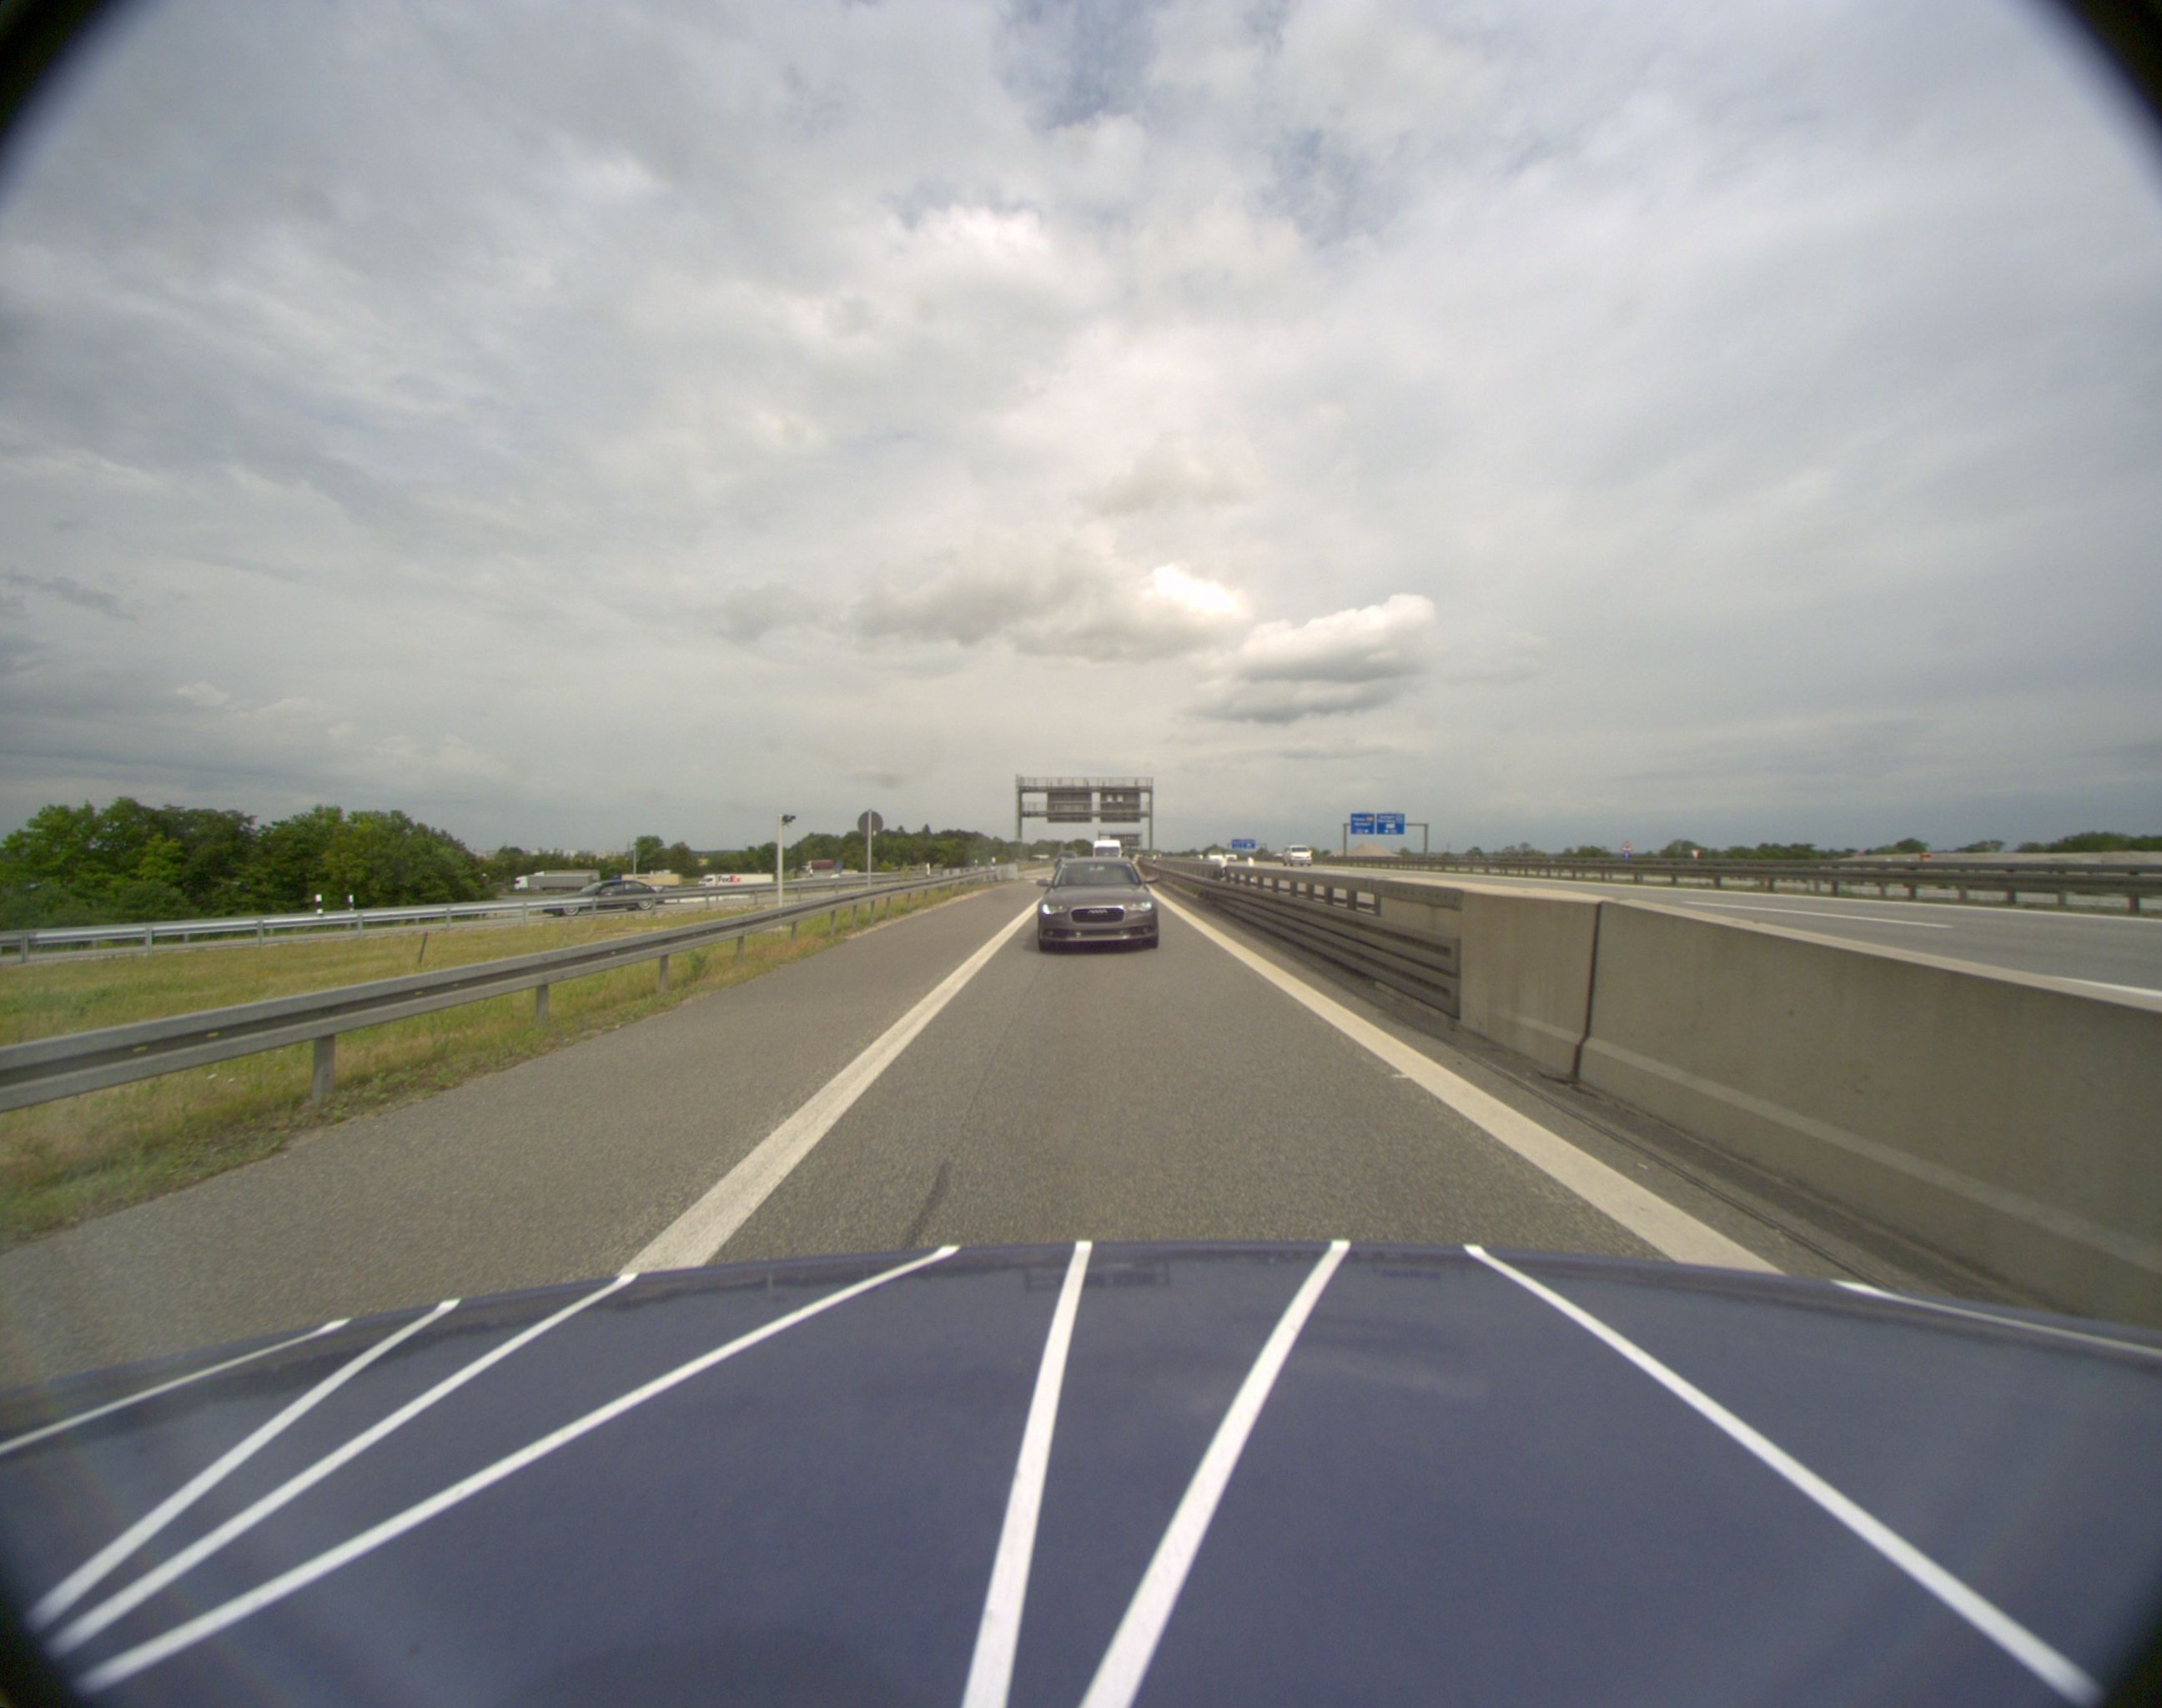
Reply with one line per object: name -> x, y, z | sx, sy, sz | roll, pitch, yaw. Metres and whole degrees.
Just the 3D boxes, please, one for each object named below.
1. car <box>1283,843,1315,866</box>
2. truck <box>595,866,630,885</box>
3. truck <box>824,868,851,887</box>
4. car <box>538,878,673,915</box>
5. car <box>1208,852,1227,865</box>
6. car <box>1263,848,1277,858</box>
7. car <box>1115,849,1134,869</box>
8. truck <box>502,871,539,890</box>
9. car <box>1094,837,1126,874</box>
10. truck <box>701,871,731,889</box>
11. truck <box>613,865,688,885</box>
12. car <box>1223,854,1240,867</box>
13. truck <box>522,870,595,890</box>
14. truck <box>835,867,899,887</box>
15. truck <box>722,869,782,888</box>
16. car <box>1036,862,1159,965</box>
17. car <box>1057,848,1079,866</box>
car -> 20.581, 0.059, 71.952 | 1.998, 2.001, 4.467 | -2, 0, 5
truck -> -120.304, 5.499, 195.186 | 6.294, 4.484, 3.929 | -2, 0, -10
truck -> -65.641, 6.273, 204.990 | 6.294, 4.647, 3.928 | -2, 1, -10
car -> -19.526, 1.713, 31.369 | 1.705, 1.273, 4.375 | -2, -1, 40
car -> 19.046, 0.673, 106.376 | 1.998, 1.739, 4.001 | -2, 0, 2
car -> 41.285, -0.191, 166.121 | 1.998, 1.851, 4.505 | -4, 0, 4
car -> 4.427, 0.493, 77.153 | 1.845, 1.870, 4.290 | -2, 0, 4
truck -> -140.811, 6.674, 190.999 | 6.294, 4.484, 3.929 | -2, 0, -9
car -> 2.096, 0.137, 55.262 | 2.119, 2.439, 6.153 | -2, 0, 2
truck -> -95.663, 6.743, 199.217 | 6.294, 4.484, 3.929 | -2, 0, -10
truck -> -111.381, 5.336, 196.772 | 16.367, 4.527, 4.005 | -2, 0, -10
car -> 23.939, 1.028, 120.819 | 1.998, 1.870, 4.001 | -2, 0, 2
truck -> -132.149, 6.436, 192.377 | 14.885, 4.527, 4.005 | -2, 0, -9
truck -> -58.047, 6.188, 206.313 | 16.175, 4.673, 3.990 | -1, 1, -10
truck -> -86.791, 6.316, 200.796 | 13.793, 4.527, 4.005 | -2, 0, -10
car -> 0.334, 0.895, 13.024 | 1.747, 1.380, 4.000 | -1, 0, 3
car -> -1.262, 0.323, 76.401 | 1.929, 1.761, 4.001 | -2, 0, 3
